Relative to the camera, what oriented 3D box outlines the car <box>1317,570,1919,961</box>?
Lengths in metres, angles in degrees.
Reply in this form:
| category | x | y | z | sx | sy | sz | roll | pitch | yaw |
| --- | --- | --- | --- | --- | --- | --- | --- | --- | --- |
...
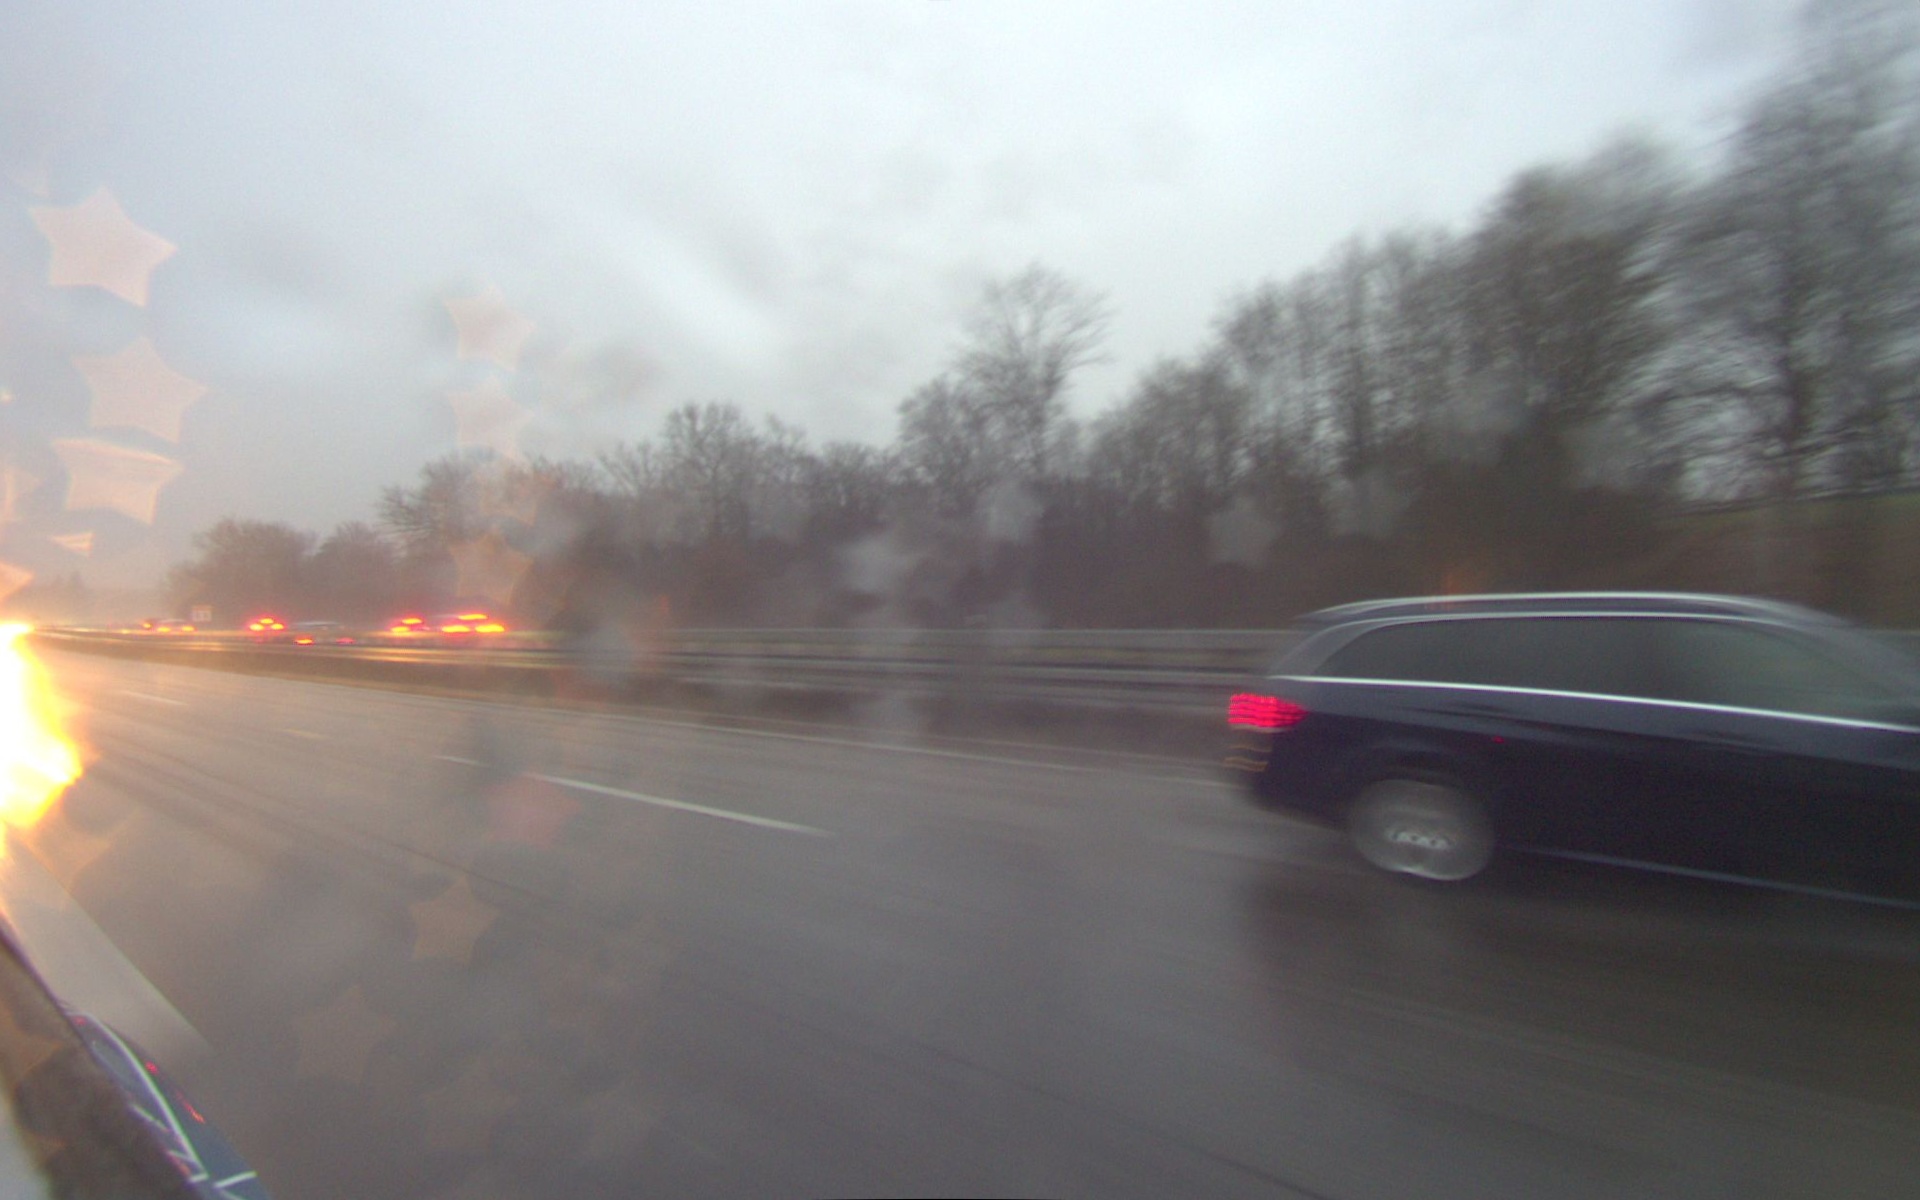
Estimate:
| category | x | y | z | sx | sy | sz | roll | pitch | yaw |
| --- | --- | --- | --- | --- | --- | --- | --- | --- | --- |
| car | 4.144 | 0.668 | 4.604 | 4.411 | 1.479 | 1.779 | -2 | -4 | 41 |

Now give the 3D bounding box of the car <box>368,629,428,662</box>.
| category | x | y | z | sx | sy | sz | roll | pitch | yaw |
| --- | --- | --- | --- | --- | --- | --- | --- | --- | --- |
| car | -31.116 | 2.480 | 55.996 | 4.203 | 1.647 | 1.665 | -1 | -1 | 42 |

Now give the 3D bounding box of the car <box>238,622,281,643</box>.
| category | x | y | z | sx | sy | sz | roll | pitch | yaw |
| --- | --- | --- | --- | --- | --- | --- | --- | --- | --- |
| car | -53.051 | 2.407 | 76.581 | 4.782 | 1.386 | 1.557 | 0 | 2 | 42 |

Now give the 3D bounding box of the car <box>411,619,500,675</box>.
| category | x | y | z | sx | sy | sz | roll | pitch | yaw |
| --- | --- | --- | --- | --- | --- | --- | --- | --- | --- |
| car | -20.802 | 1.879 | 41.665 | 4.000 | 2.029 | 1.972 | 0 | 2 | 43 |

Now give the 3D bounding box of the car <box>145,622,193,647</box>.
| category | x | y | z | sx | sy | sz | roll | pitch | yaw |
| --- | --- | --- | --- | --- | --- | --- | --- | --- | --- |
| car | -50.838 | 2.182 | 65.047 | 3.842 | 1.386 | 1.760 | 0 | 2 | 42 |

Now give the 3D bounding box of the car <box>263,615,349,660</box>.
| category | x | y | z | sx | sy | sz | roll | pitch | yaw |
| --- | --- | --- | --- | --- | --- | --- | --- | --- | --- |
| car | -26.787 | 1.499 | 41.400 | 4.379 | 1.696 | 1.855 | -2 | -1 | 42 |

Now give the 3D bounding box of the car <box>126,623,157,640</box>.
| category | x | y | z | sx | sy | sz | roll | pitch | yaw |
| --- | --- | --- | --- | --- | --- | --- | --- | --- | --- |
| car | -72.521 | 2.780 | 89.631 | 3.842 | 1.386 | 1.557 | 0 | 2 | 42 |
